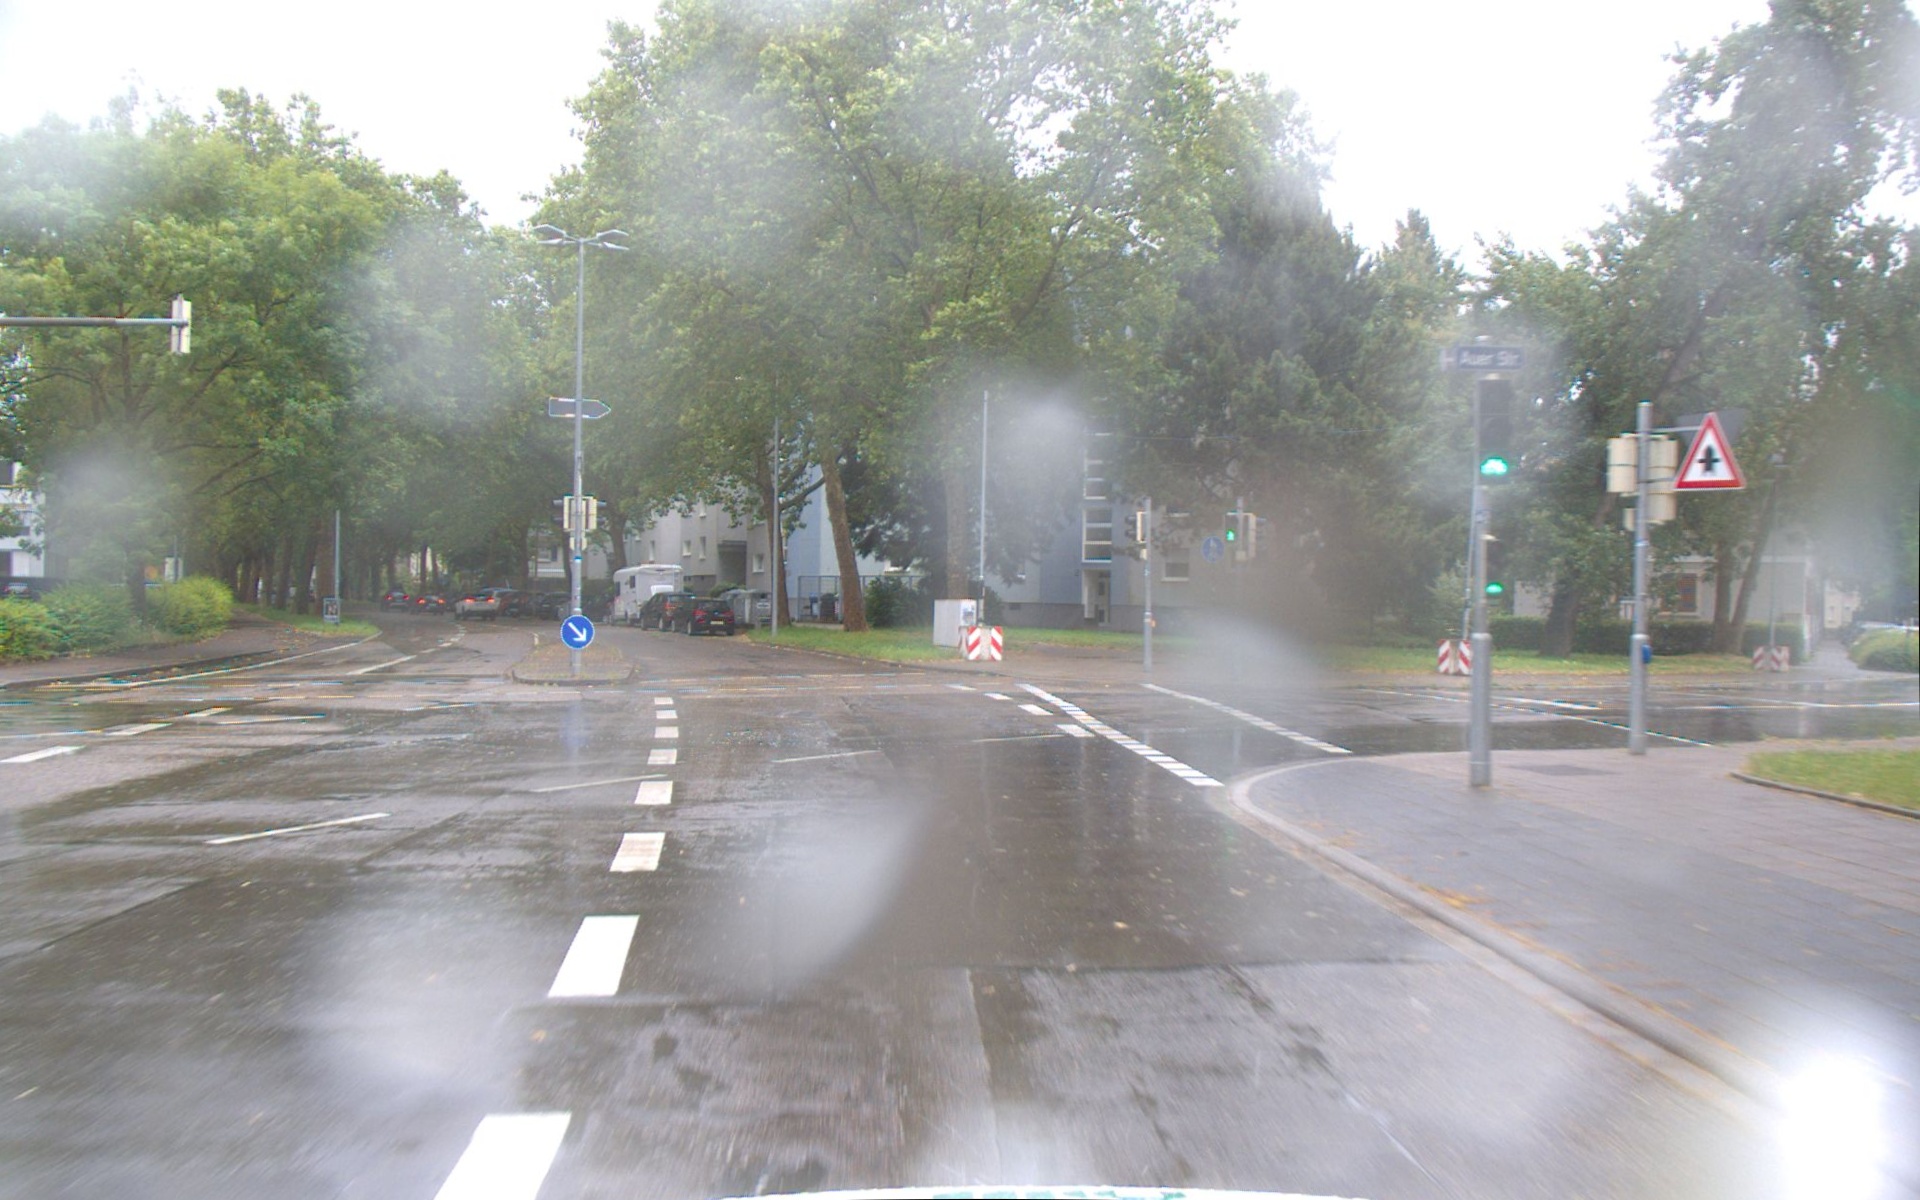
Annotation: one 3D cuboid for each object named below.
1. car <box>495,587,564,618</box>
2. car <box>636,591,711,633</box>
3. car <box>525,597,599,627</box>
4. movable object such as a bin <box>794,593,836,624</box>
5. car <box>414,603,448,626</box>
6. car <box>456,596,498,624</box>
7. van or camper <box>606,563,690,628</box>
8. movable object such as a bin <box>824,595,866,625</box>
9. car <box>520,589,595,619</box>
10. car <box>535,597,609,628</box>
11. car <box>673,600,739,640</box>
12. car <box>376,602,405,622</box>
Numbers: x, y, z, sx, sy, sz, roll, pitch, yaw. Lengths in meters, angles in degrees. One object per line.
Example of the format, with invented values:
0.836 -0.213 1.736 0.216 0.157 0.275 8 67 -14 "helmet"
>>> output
-26.243 0.119 100.885 1.801 1.726 3.853 1 2 36 "car"
-12.041 0.527 69.321 1.893 1.649 4.414 2 -2 -27 "car"
-22.663 0.687 94.310 1.766 1.629 3.987 2 0 34 "car"
-7.308 0.432 83.183 1.207 1.457 1.833 2 0 -44 "movable object such as a bin"
-35.707 0.960 111.518 1.685 1.436 3.614 -1 1 -26 "car"
-27.044 0.537 92.572 1.685 1.436 3.614 -1 1 -26 "car"
-14.552 -0.203 76.720 2.288 2.856 6.812 1 0 -24 "van or camper"
-5.709 0.489 82.067 1.207 1.457 1.833 2 0 -44 "movable object such as a bin"
-23.843 0.255 98.045 1.995 1.629 3.984 2 0 36 "car"
-21.390 0.712 91.324 1.766 1.629 3.757 2 0 34 "car"
-9.946 0.756 64.585 1.528 1.414 4.119 2 0 -23 "car"
-43.794 0.943 127.126 1.685 1.436 3.614 -1 1 -26 "car"
